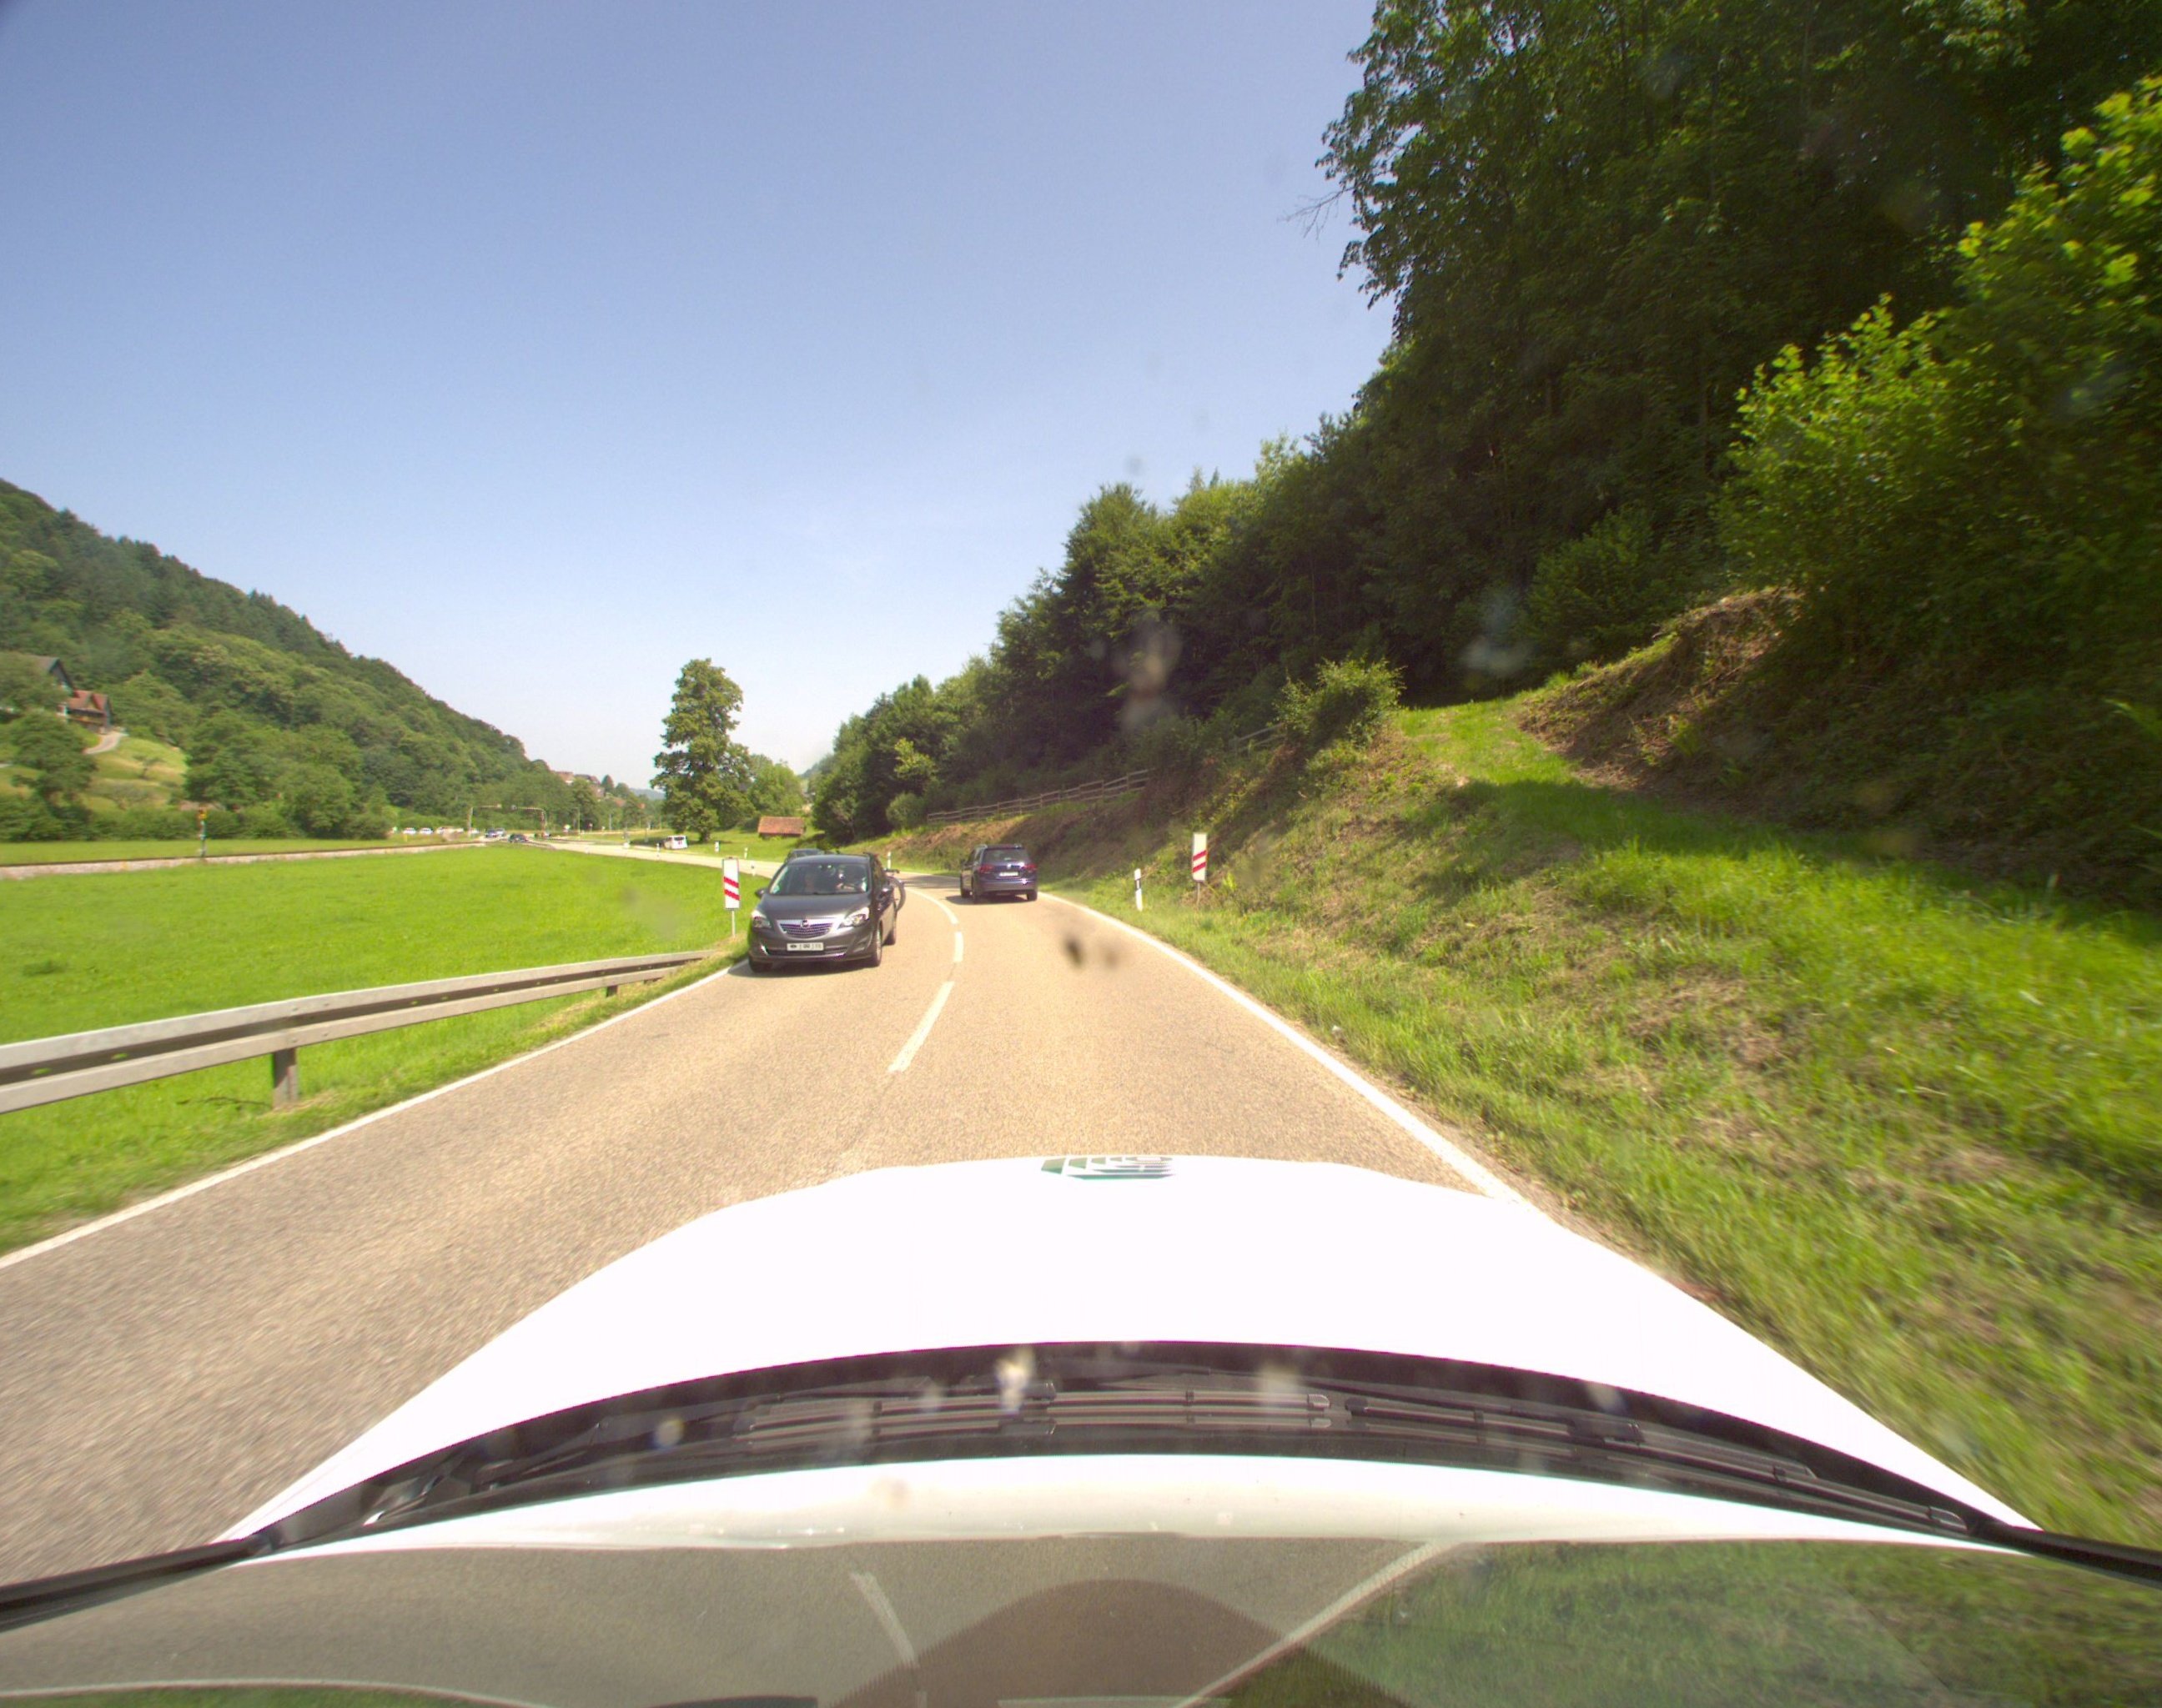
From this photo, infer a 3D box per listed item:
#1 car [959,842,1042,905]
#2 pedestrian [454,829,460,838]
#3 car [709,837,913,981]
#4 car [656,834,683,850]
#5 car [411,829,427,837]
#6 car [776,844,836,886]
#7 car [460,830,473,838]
[{"bbox_3d":[-2.473,0.491,24.137,1.855,1.649,4.120,-2,1,-14],"label":"car"},{"bbox_3d":[-133.691,-4.457,174.550,0.644,1.858,0.771,0,2,2],"label":"pedestrian"},{"bbox_3d":[-3.941,0.667,12.845,1.947,1.740,4.886,-3,1,-6],"label":"car"},{"bbox_3d":[-57.235,-1.693,113.198,2.017,1.847,4.811,-8,7,-41],"label":"car"},{"bbox_3d":[-142.888,-4.494,175.805,2.007,1.641,4.854,-1,2,-31],"label":"car"},{"bbox_3d":[-13.971,0.486,41.221,1.888,1.586,4.553,-12,7,-28],"label":"car"},{"bbox_3d":[-135.389,-4.422,179.436,1.842,1.500,4.227,-2,3,-41],"label":"car"}]
